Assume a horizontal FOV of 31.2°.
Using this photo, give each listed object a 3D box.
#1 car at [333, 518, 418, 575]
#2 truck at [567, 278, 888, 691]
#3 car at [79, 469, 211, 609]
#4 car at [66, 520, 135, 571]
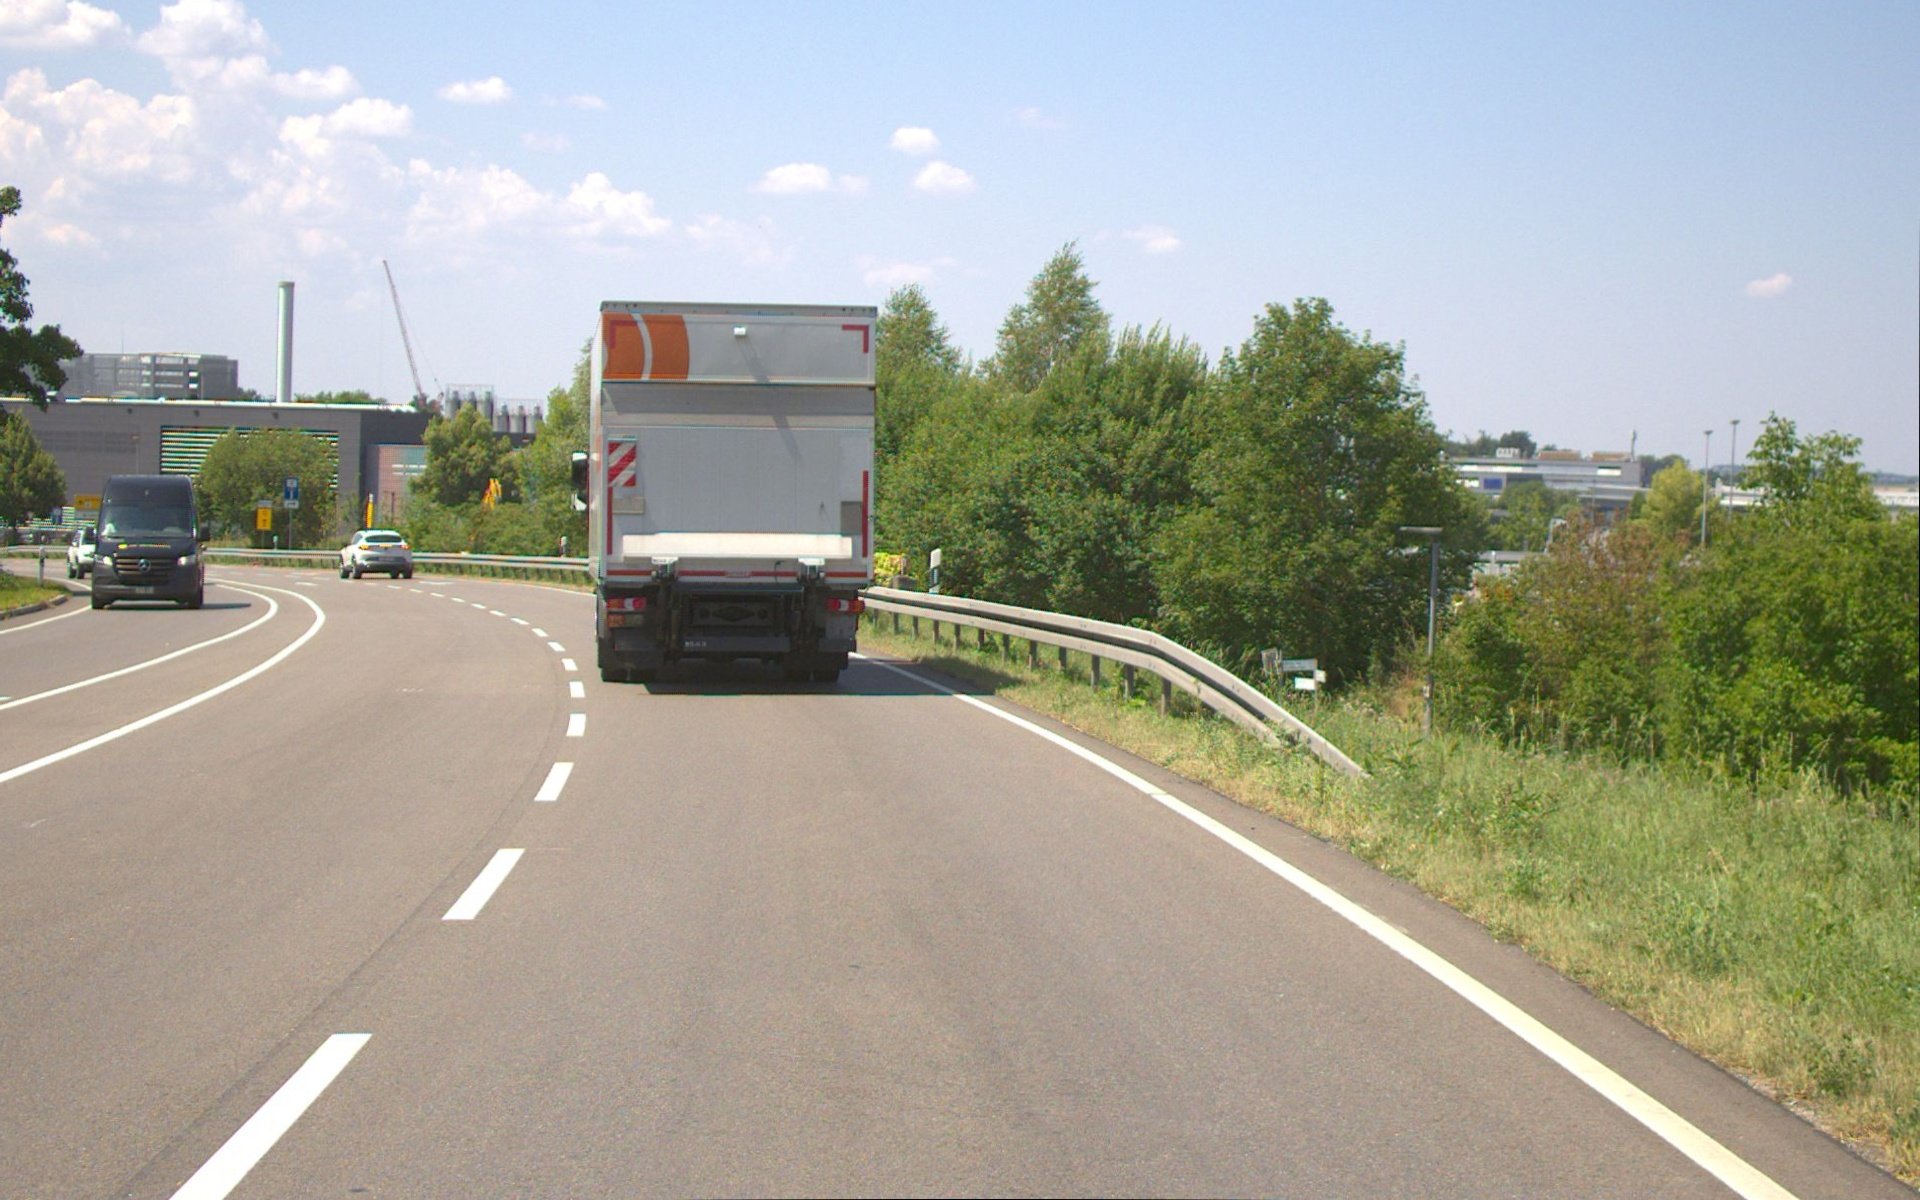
[{"bbox_3d":[-18.341,-1.682,107.736,1.943,1.658,4.001,3,0,-19],"label":"car"},{"bbox_3d":[-2.620,-1.162,35.739,2.803,3.698,9.110,1,1,-7],"label":"truck"},{"bbox_3d":[-15.736,-1.189,66.638,2.187,2.532,6.039,1,1,-11],"label":"car"},{"bbox_3d":[-28.039,-1.786,112.060,1.993,1.623,4.198,0,1,-17],"label":"car"}]
